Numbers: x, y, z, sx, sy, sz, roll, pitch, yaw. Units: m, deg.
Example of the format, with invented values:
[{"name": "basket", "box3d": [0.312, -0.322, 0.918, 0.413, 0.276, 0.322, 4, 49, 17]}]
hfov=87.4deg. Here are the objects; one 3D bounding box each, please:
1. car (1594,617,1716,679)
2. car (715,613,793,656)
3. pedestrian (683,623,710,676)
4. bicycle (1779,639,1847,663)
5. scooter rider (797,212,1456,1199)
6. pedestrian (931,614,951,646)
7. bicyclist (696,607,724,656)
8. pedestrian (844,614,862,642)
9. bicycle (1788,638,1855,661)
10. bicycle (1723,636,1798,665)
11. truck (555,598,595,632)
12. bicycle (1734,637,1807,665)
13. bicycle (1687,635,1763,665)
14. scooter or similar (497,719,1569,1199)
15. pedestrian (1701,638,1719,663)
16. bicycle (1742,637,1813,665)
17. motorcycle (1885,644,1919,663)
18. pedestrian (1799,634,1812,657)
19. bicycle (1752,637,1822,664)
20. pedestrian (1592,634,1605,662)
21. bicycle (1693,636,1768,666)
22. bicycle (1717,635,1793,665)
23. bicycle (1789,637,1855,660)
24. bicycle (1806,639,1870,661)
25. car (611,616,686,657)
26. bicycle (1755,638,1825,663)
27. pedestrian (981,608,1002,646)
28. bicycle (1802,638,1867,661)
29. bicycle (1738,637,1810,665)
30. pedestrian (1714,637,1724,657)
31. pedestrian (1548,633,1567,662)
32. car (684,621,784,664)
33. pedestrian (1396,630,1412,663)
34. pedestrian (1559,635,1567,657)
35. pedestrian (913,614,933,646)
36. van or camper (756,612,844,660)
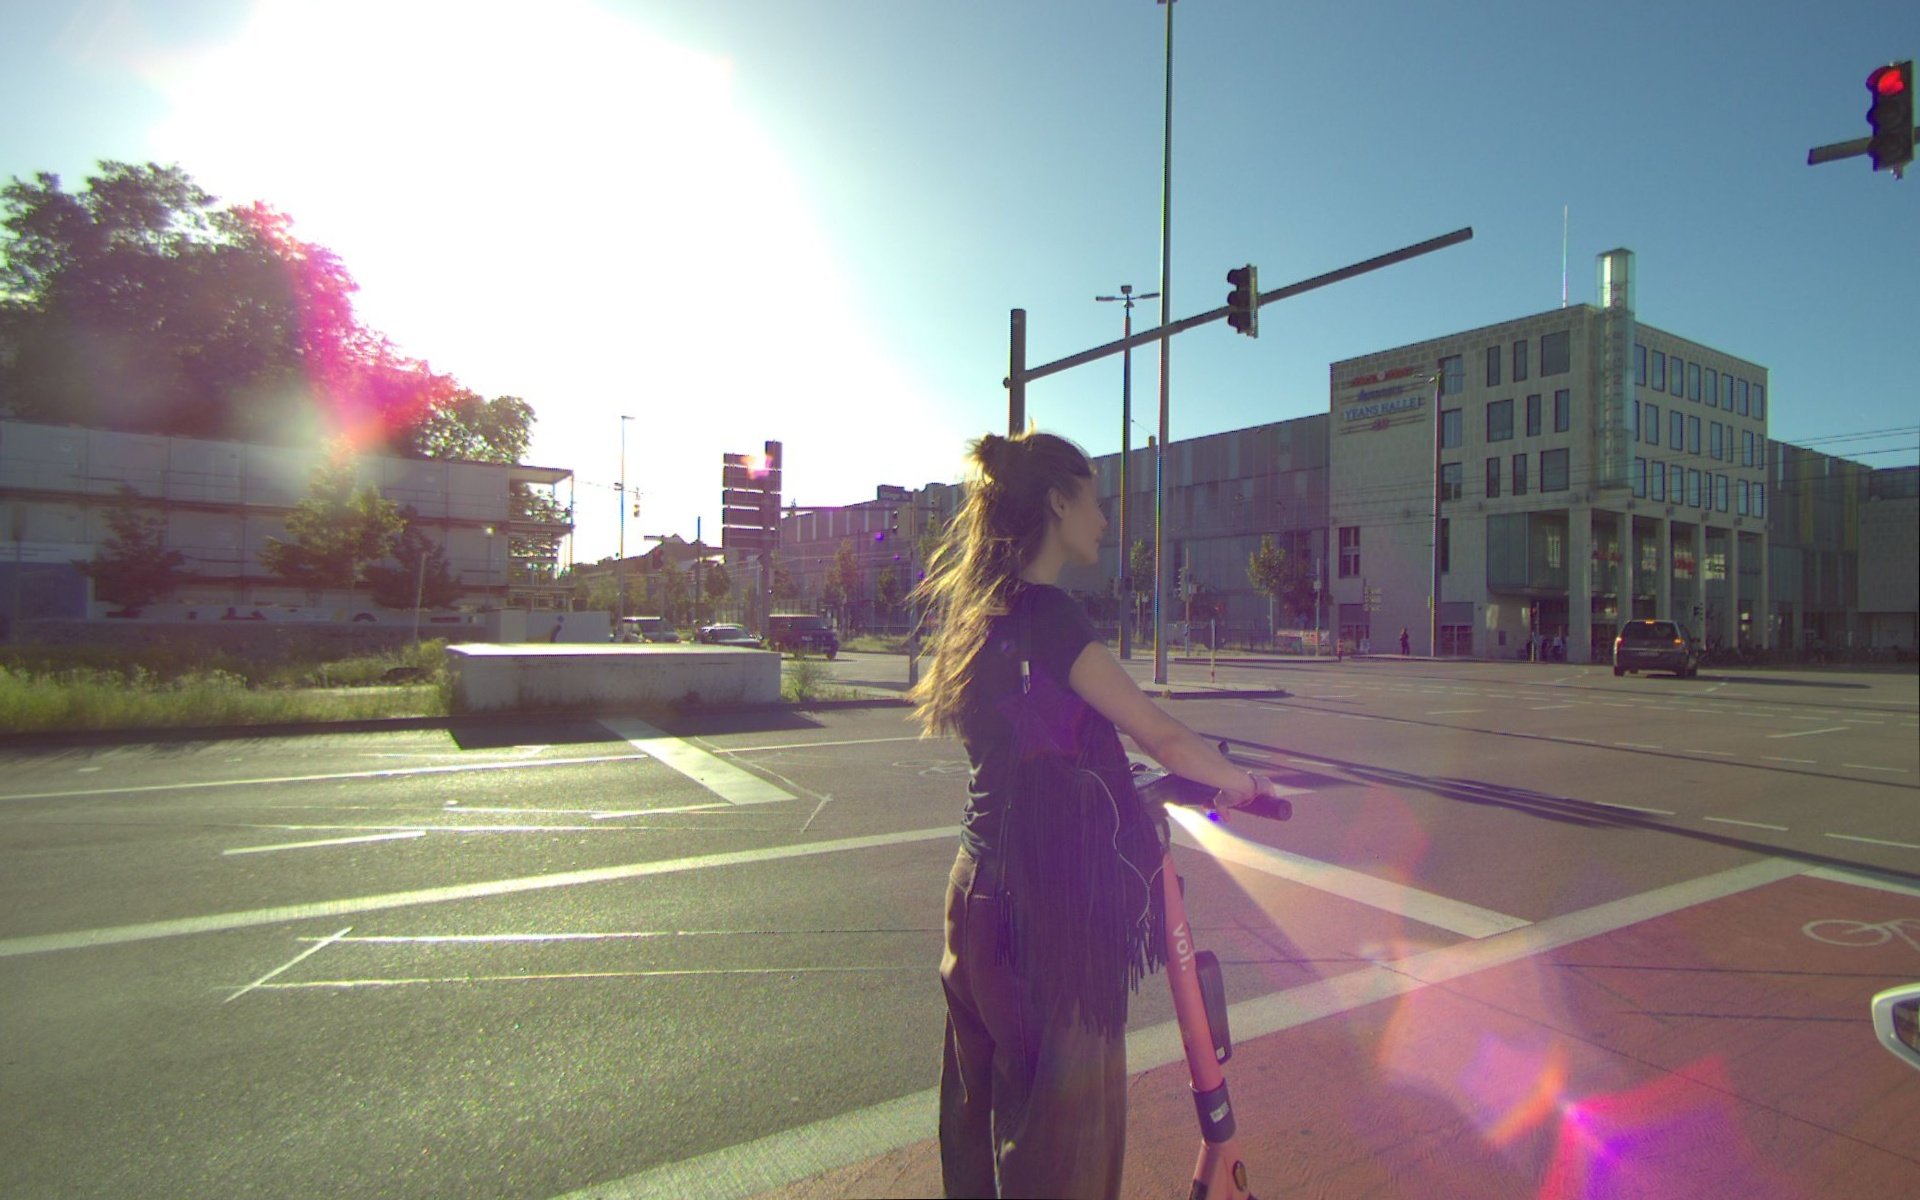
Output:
[{"name": "car", "box3d": [20.533, 1.359, 29.592, 4.447, 1.628, 1.975, 1, 0, -42]}, {"name": "car", "box3d": [-10.385, 1.703, 50.419, 1.981, 2.040, 4.821, 1, -2, -36]}, {"name": "pedestrian", "box3d": [-8.617, 1.603, 32.802, 0.619, 1.674, 0.935, 1, -1, -30]}, {"name": "bicycle", "box3d": [58.878, 3.480, 69.394, 0.979, 1.547, 3.462, 2, -2, -40]}, {"name": "scooter rider", "box3d": [0.242, 0.457, 1.681, 0.801, 1.798, 0.725, 1, -1, -30]}, {"name": "pedestrian", "box3d": [-1.094, 1.771, 59.343, 0.889, 1.855, 0.787, 1, -1, -35]}, {"name": "bicyclist", "box3d": [-13.955, 1.755, 55.995, 1.007, 2.677, 1.610, 1, -1, -34]}, {"name": "pedestrian", "box3d": [-7.007, 1.838, 65.869, 0.889, 1.855, 0.787, 1, -1, -35]}, {"name": "bicycle", "box3d": [60.386, 3.434, 70.475, 0.979, 1.547, 3.462, 2, -2, -40]}, {"name": "bicycle", "box3d": [49.148, 3.081, 61.743, 1.107, 1.719, 3.465, 1, -2, -38]}, {"name": "truck", "box3d": [-33.476, 1.339, 87.249, 1.979, 2.875, 6.293, 1, -2, -33]}, {"name": "bicycle", "box3d": [51.124, 3.191, 63.428, 0.979, 1.719, 3.462, 1, -2, -40]}, {"name": "bicycle", "box3d": [45.704, 2.978, 60.036, 1.107, 1.719, 3.465, 1, -2, -38]}, {"name": "scooter or similar", "box3d": [0.173, 0.873, 1.654, 1.645, 1.218, 0.725, 1, -1, -30]}, {"name": "pedestrian", "box3d": [50.097, 3.363, 67.101, 0.688, 1.664, 0.779, 1, -1, -36]}, {"name": "bicycle", "box3d": [52.863, 3.260, 64.967, 0.979, 1.719, 3.462, 1, -2, -40]}, {"name": "motorcycle", "box3d": [70.750, 4.017, 75.090, 0.713, 1.335, 2.260, 1, -2, -34]}, {"name": "pedestrian", "box3d": [63.352, 3.404, 75.271, 0.689, 1.664, 0.648, 1, -1, -38]}, {"name": "bicycle", "box3d": [54.509, 3.321, 66.257, 0.979, 1.719, 3.462, 1, -2, -40]}, {"name": "pedestrian", "box3d": [37.698, 2.821, 59.339, 0.546, 1.664, 0.535, 1, -2, -43]}, {"name": "bicycle", "box3d": [46.627, 3.041, 60.837, 1.107, 1.719, 3.465, 1, -2, -38]}, {"name": "bicycle", "box3d": [48.219, 3.014, 60.942, 1.107, 1.719, 3.465, 1, -2, -38]}, {"name": "bicycle", "box3d": [61.192, 3.452, 71.307, 0.979, 1.547, 3.462, 2, -2, -40]}, {"name": "bicycle", "box3d": [64.509, 3.646, 73.856, 0.979, 1.547, 3.462, 2, -2, -40]}, {"name": "car", "box3d": [-15.058, 1.717, 48.462, 1.981, 1.849, 4.821, 1, -2, -36]}, {"name": "bicycle", "box3d": [55.260, 3.330, 66.925, 0.979, 1.547, 3.462, 2, -2, -40]}, {"name": "pedestrian", "box3d": [1.589, 1.362, 50.594, 0.788, 1.855, 0.706, 1, -1, -37]}, {"name": "bicycle", "box3d": [63.710, 3.590, 73.208, 0.979, 1.547, 3.462, 2, -2, -40]}, {"name": "bicycle", "box3d": [51.950, 3.228, 64.163, 0.979, 1.719, 3.462, 1, -2, -40]}, {"name": "pedestrian", "box3d": [56.689, 3.526, 75.023, 0.630, 1.454, 0.474, 0, -1, 38]}, {"name": "pedestrian", "box3d": [37.459, 2.968, 62.943, 0.728, 1.822, 0.753, 1, -1, -31]}, {"name": "car", "box3d": [-9.392, 1.711, 41.513, 2.313, 1.671, 4.821, 1, -2, -37]}, {"name": "pedestrian", "box3d": [23.507, 2.464, 53.182, 0.541, 1.716, 0.523, 1, -1, -29]}, {"name": "pedestrian", "box3d": [41.617, 3.173, 69.321, 0.380, 1.445, 0.502, 0, -1, 22]}, {"name": "pedestrian", "box3d": [-2.183, 1.773, 59.377, 0.889, 1.855, 0.787, 1, -1, -35]}, {"name": "van or camper", "box3d": [-7.322, 1.600, 45.640, 1.981, 2.040, 4.821, 1, -2, -36]}]
